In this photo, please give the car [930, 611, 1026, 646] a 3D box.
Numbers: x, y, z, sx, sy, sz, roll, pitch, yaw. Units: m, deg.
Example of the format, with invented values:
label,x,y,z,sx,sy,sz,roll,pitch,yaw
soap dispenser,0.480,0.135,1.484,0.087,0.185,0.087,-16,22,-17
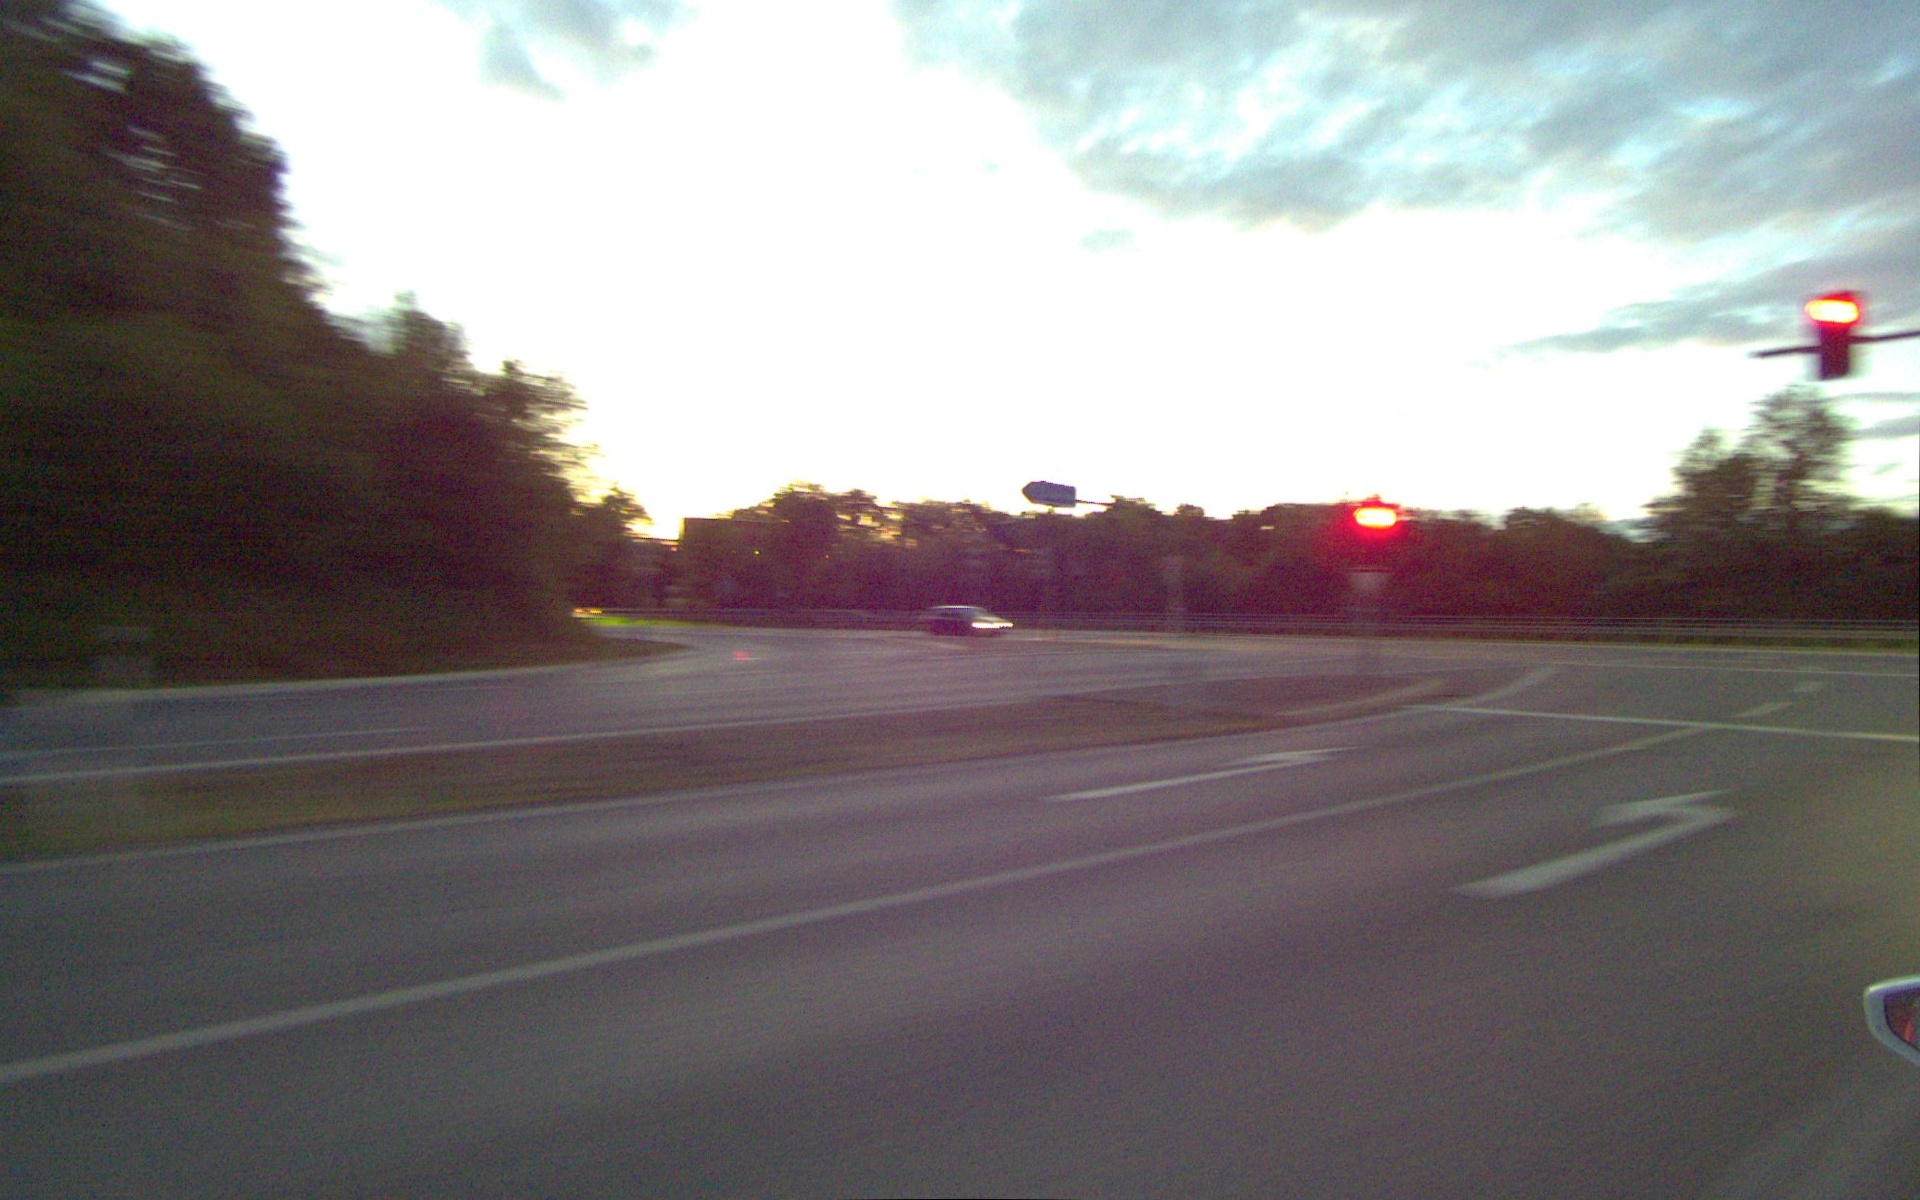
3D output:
label,x,y,z,sx,sy,sz,roll,pitch,yaw
car,0.773,1.279,44.871,3.939,1.472,1.991,-1,-3,40
